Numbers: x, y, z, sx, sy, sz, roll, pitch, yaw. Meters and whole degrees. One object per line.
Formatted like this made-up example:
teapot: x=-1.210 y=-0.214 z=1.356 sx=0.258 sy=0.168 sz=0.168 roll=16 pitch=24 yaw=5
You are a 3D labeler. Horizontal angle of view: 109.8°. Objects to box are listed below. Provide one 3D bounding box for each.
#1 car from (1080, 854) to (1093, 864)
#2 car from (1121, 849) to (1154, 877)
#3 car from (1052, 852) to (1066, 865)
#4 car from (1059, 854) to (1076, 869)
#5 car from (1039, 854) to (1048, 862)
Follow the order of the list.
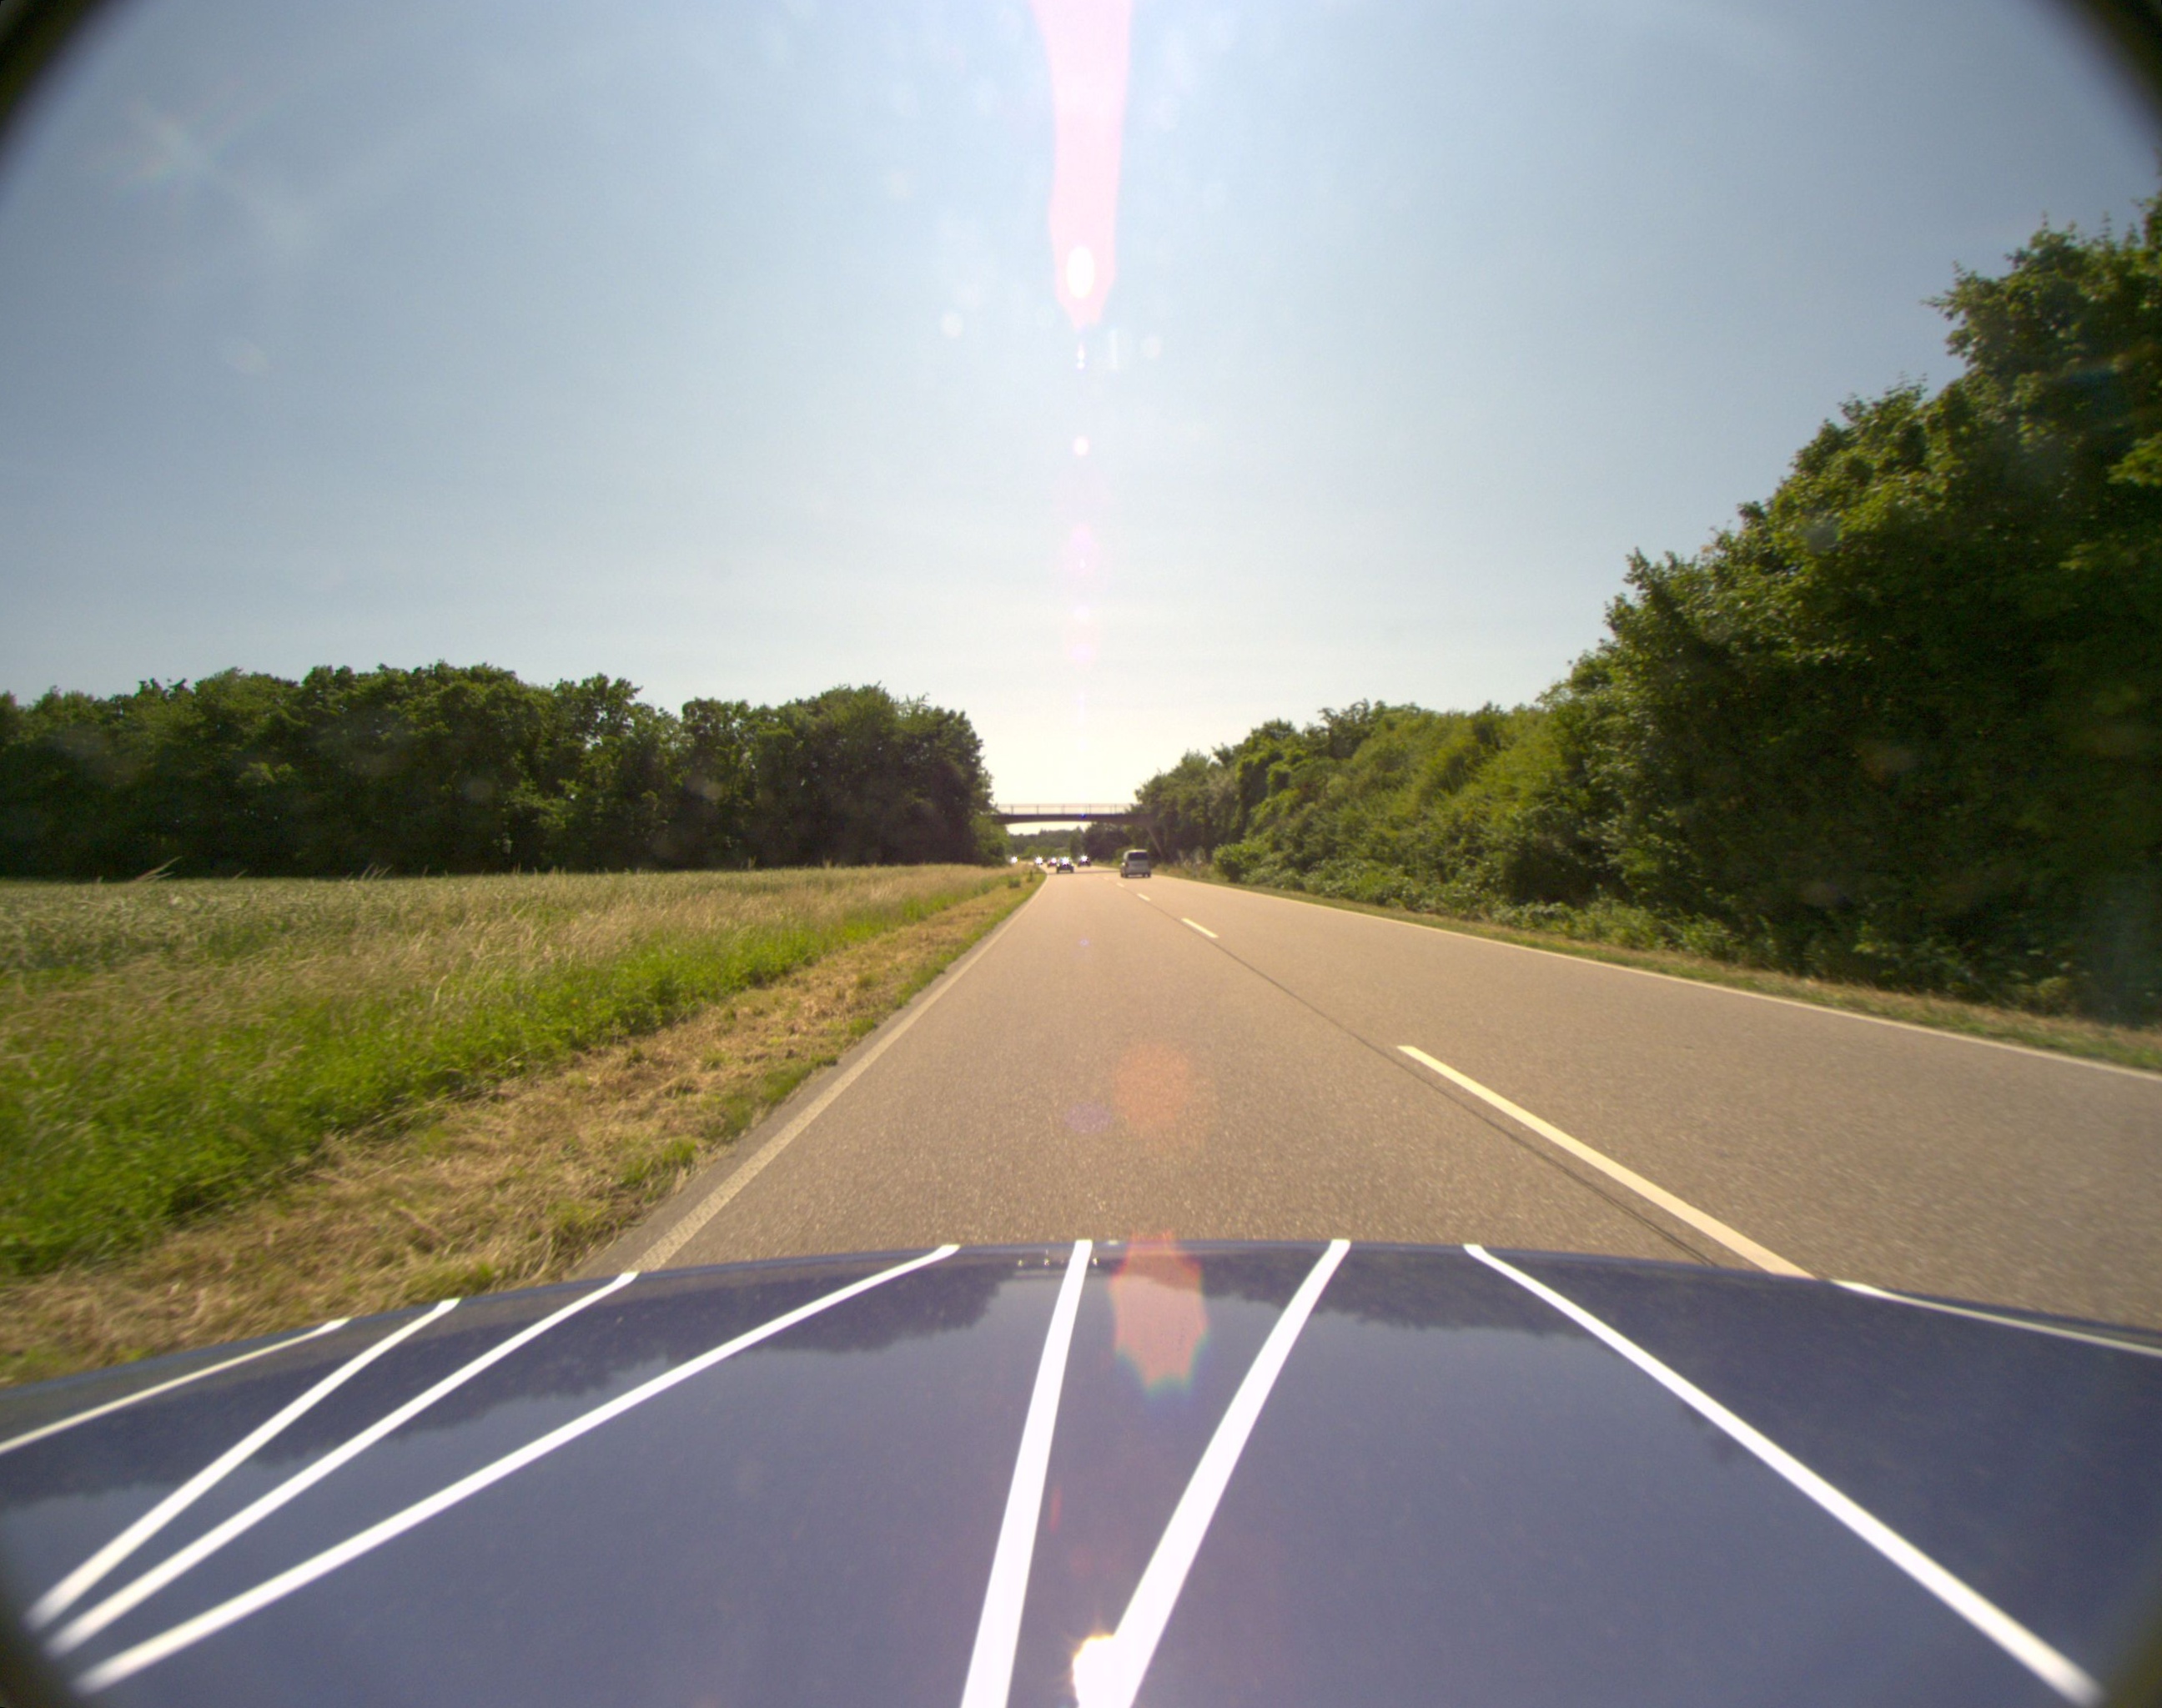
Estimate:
car: x=0.767 y=0.686 z=112.904 sx=1.711 sy=1.420 sz=3.999 roll=-2 pitch=0 yaw=-1
car: x=3.848 y=0.583 z=52.364 sx=1.767 sy=1.808 sz=4.803 roll=-2 pitch=0 yaw=-1
car: x=-3.432 y=0.675 z=118.292 sx=1.999 sy=2.002 sz=3.999 roll=-2 pitch=0 yaw=-2
car: x=-1.408 y=0.803 z=79.342 sx=1.693 sy=1.431 sz=3.709 roll=-2 pitch=0 yaw=-2
car: x=-8.153 y=0.932 z=165.166 sx=1.553 sy=1.659 sz=4.000 roll=-3 pitch=1 yaw=1
